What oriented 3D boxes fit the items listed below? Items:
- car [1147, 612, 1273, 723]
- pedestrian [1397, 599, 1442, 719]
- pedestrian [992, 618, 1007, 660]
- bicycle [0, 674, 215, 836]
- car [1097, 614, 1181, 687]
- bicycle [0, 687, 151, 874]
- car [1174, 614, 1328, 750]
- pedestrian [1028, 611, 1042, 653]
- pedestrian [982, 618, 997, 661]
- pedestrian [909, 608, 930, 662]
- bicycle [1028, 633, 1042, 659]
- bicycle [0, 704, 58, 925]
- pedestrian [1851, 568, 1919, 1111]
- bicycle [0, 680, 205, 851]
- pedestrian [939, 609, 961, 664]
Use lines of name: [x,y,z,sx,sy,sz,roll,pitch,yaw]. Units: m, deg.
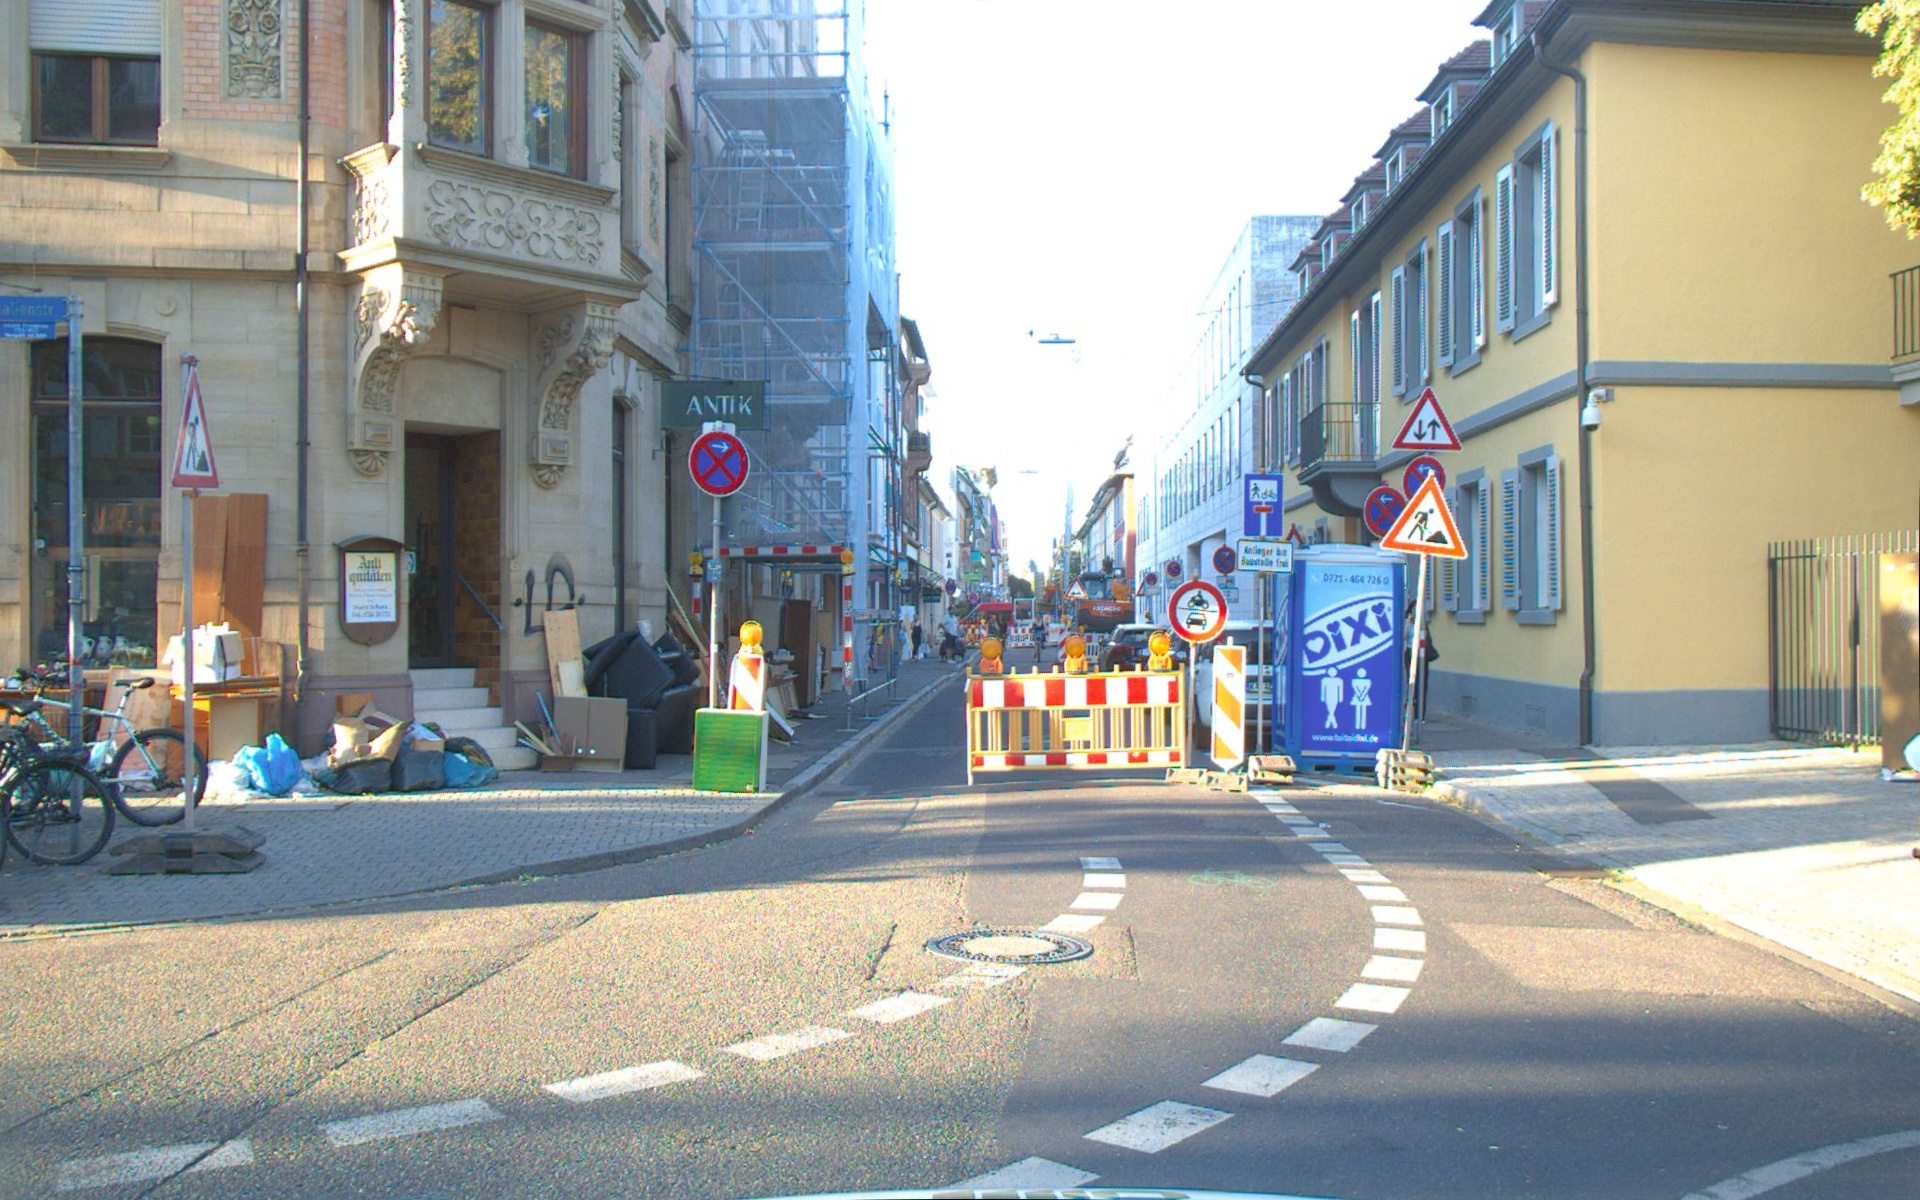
car: [3.763,0.968,25.416,1.508,1.547,3.980,-1,0,3]
pedestrian: [6.311,0.797,22.731,0.457,1.623,0.673,-1,-1,5]
pedestrian: [1.414,1.408,59.337,0.494,1.487,0.513,-1,-1,8]
bicycle: [-6.293,1.056,11.390,2.064,1.058,0.464,0,-1,-9]
car: [4.001,1.106,37.329,1.682,1.547,3.222,-1,0,3]
bicycle: [-5.828,1.054,9.741,1.792,1.031,0.638,0,-1,-9]
car: [3.601,0.971,20.886,1.508,1.547,3.222,1,0,3]
pedestrian: [2.685,1.157,59.369,0.494,1.487,0.512,0,-1,2]
pedestrian: [1.004,1.356,56.837,0.494,1.487,0.512,0,-1,3]
pedestrian: [-1.342,1.159,54.621,0.662,1.763,0.699,0,-1,-1]
bicycle: [2.684,1.630,59.391,0.494,0.899,1.477,0,0,2]
bicycle: [-5.683,1.090,8.457,1.790,1.065,0.571,0,0,-5]
pedestrian: [3.406,0.740,5.201,0.942,1.688,0.636,-1,-1,41]
bicycle: [-6.075,1.059,10.700,2.064,1.031,0.638,0,-1,-9]
pedestrian: [-0.328,1.191,54.659,0.501,1.795,0.505,0,-1,-39]
